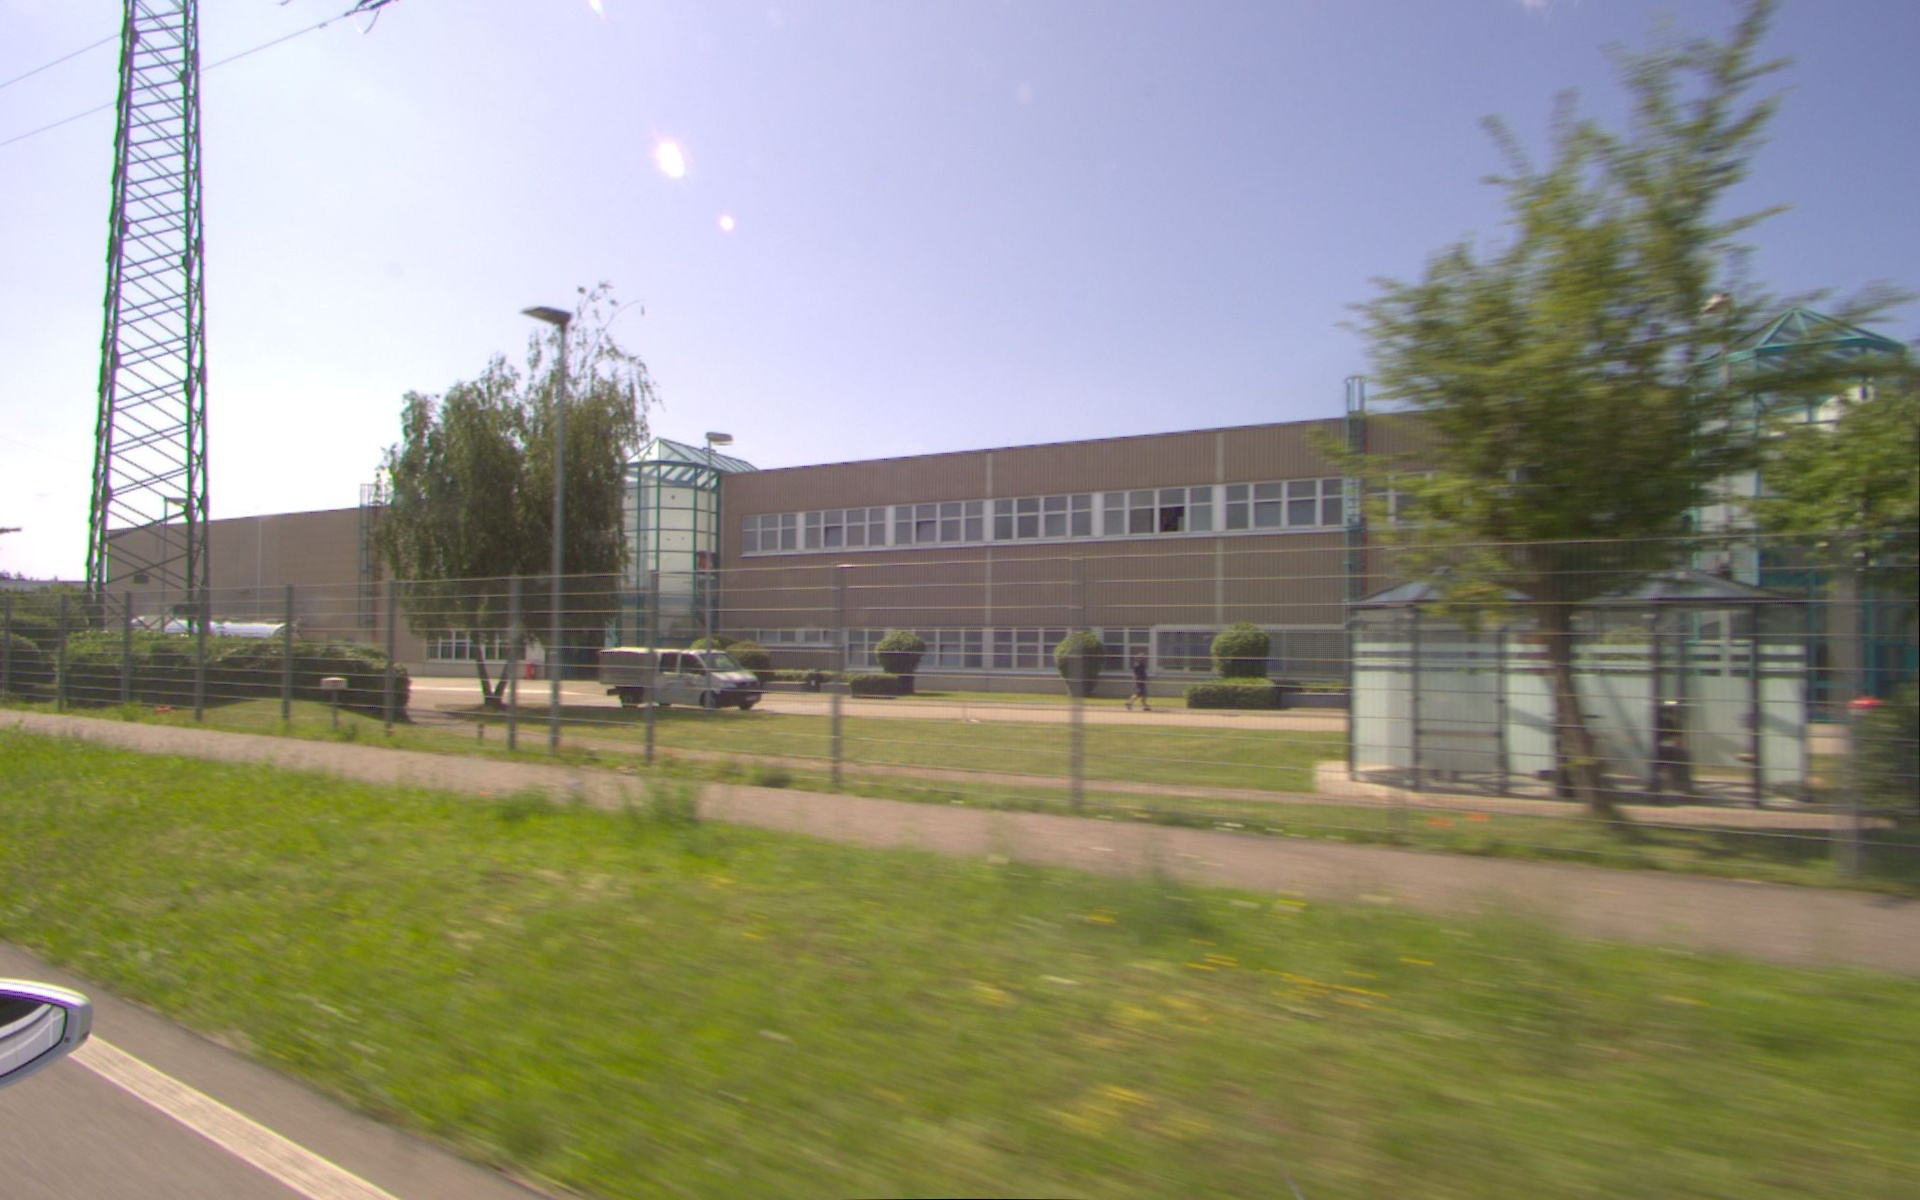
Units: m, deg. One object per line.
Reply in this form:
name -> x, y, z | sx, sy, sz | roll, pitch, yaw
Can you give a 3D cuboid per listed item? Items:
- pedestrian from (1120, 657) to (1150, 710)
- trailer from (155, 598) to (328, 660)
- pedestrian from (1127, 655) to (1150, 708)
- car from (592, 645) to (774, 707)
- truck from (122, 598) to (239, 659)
pedestrian -> 5.696, 2.717, 32.561 | 0.823, 1.690, 0.548 | 0, -2, 24
trailer -> -46.464, 1.844, 64.629 | 12.037, 3.783, 3.592 | 0, -1, 25
pedestrian -> 5.920, 2.691, 33.124 | 0.652, 1.738, 0.487 | 0, -2, 22
car -> -8.923, 2.402, 32.220 | 5.561, 1.801, 2.112 | 0, -3, 24
truck -> -52.490, 1.929, 67.464 | 6.300, 3.917, 3.597 | 0, -1, 23
